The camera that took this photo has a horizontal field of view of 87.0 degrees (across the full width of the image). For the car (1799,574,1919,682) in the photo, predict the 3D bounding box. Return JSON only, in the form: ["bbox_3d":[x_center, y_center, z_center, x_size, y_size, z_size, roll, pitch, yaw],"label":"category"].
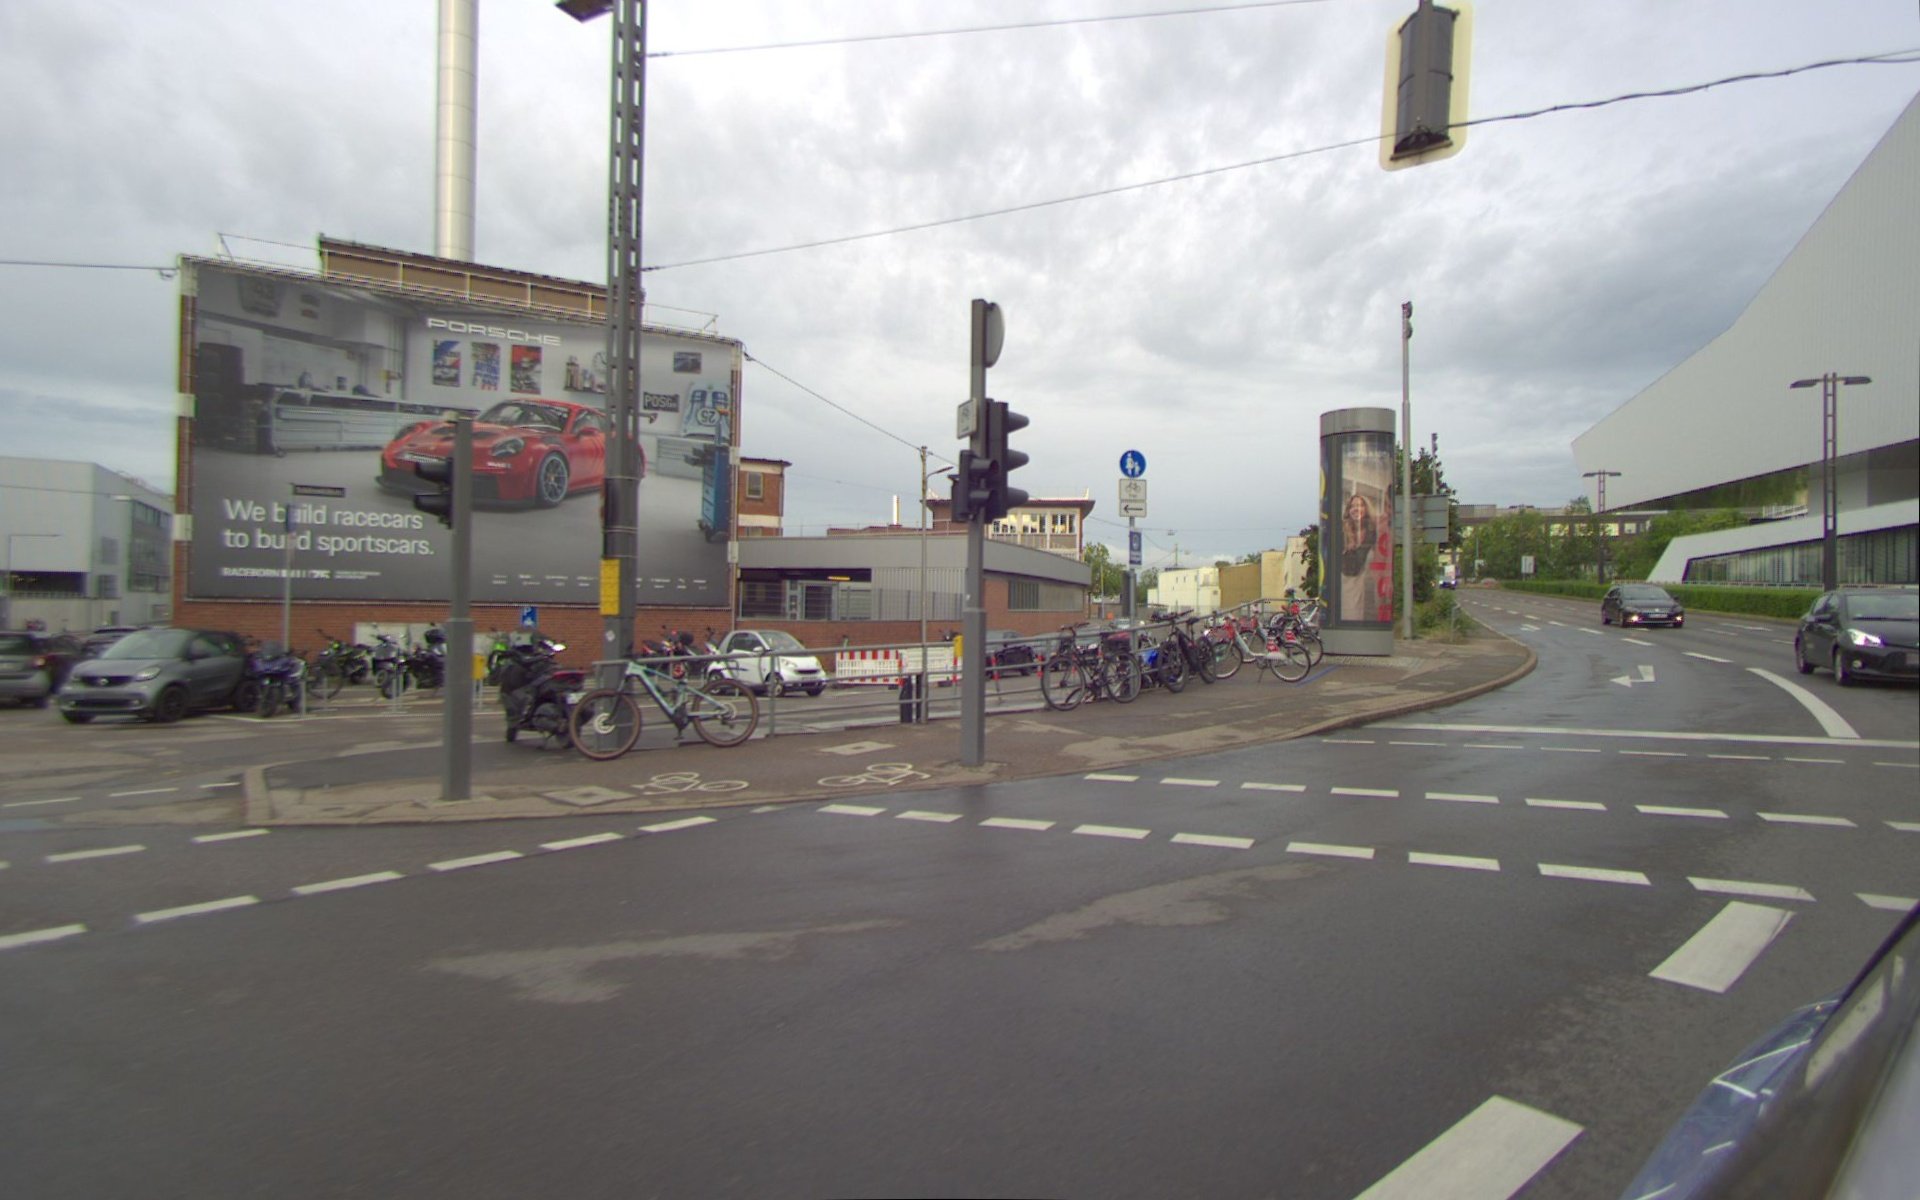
[{"bbox_3d":[15.080,0.373,16.334,1.680,1.526,3.969,-1,1,30],"label":"car"}]

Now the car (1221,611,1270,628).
[{"bbox_3d":[24.902,1.674,88.496,3.935,1.444,1.715,0,-1,10],"label":"car"}]

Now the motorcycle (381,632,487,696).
[{"bbox_3d":[-10.459,1.252,20.146,1.828,1.125,0.545,-2,1,-30],"label":"motorcycle"}]

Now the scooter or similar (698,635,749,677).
[{"bbox_3d":[-6.708,1.569,28.637,1.631,1.110,0.497,-1,1,40],"label":"scooter or similar"}]

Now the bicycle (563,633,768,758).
[{"bbox_3d":[-3.112,0.985,10.780,2.030,1.144,0.422,-2,1,-20],"label":"bicycle"}]

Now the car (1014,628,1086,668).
[{"bbox_3d":[3.674,1.889,40.607,1.702,1.444,3.967,-1,0,24],"label":"car"}]

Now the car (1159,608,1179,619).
[{"bbox_3d":[27.814,1.752,134.731,1.688,1.444,4.000,0,0,-1],"label":"car"}]

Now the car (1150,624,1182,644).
[{"bbox_3d":[15.502,2.543,76.243,1.689,1.444,4.224,0,0,3],"label":"car"}]

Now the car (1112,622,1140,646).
[{"bbox_3d":[10.813,2.187,65.803,1.706,1.406,3.986,-1,0,11],"label":"car"}]

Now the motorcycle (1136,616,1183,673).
[{"bbox_3d":[3.467,0.750,17.559,0.430,0.901,1.252,0,1,29],"label":"motorcycle"}]

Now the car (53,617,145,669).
[{"bbox_3d":[-27.545,1.333,32.478,1.430,1.461,3.470,-2,1,-27],"label":"car"}]

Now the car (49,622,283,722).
[{"bbox_3d":[-13.666,1.182,17.663,1.594,1.523,3.247,0,0,-1],"label":"car"}]

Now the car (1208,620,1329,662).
[{"bbox_3d":[11.480,1.490,37.780,3.979,1.444,1.697,-1,-1,39],"label":"car"}]

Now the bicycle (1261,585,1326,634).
[{"bbox_3d":[8.428,0.237,25.569,1.525,1.169,0.448,2,2,20],"label":"bicycle"}]

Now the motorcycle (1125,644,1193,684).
[{"bbox_3d":[4.893,1.565,24.883,1.594,0.933,0.480,-2,1,17],"label":"motorcycle"}]

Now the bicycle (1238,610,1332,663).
[{"bbox_3d":[5.975,0.658,18.661,1.606,0.933,0.416,0,0,36],"label":"bicycle"}]

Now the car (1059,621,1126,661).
[{"bbox_3d":[6.224,1.842,47.026,1.766,1.688,4.464,-1,-1,26],"label":"car"}]

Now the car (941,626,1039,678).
[{"bbox_3d":[1.118,1.704,34.556,1.868,1.570,4.472,-1,0,23],"label":"car"}]

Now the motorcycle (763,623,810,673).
[{"bbox_3d":[-5.158,1.411,30.115,0.518,1.350,1.657,-2,1,23],"label":"motorcycle"}]

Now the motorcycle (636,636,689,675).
[{"bbox_3d":[-7.979,1.474,27.145,1.609,0.985,0.533,-1,1,40],"label":"motorcycle"}]

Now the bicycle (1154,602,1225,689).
[{"bbox_3d":[3.552,0.664,15.555,0.397,1.189,1.992,0,2,32],"label":"bicycle"}]

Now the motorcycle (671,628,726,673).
[{"bbox_3d":[-7.256,1.391,28.041,1.712,1.166,0.577,-1,1,40],"label":"motorcycle"}]

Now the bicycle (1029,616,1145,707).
[{"bbox_3d":[1.731,0.800,13.615,1.711,1.097,0.348,-2,1,-33],"label":"bicycle"}]

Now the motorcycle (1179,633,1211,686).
[{"bbox_3d":[4.587,1.140,19.723,0.398,0.901,1.530,0,1,21],"label":"motorcycle"}]

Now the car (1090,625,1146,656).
[{"bbox_3d":[8.258,2.057,52.527,1.703,1.422,4.236,-1,-1,26],"label":"car"}]

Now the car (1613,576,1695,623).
[{"bbox_3d":[23.909,-0.063,34.985,1.732,1.493,4.033,-1,1,26],"label":"car"}]

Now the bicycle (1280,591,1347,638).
[{"bbox_3d":[8.346,0.340,23.907,1.432,1.087,0.444,0,2,-7],"label":"bicycle"}]

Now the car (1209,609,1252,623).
[{"bbox_3d":[27.132,1.604,101.653,3.935,1.444,1.715,0,-1,10],"label":"car"}]

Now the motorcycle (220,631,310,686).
[{"bbox_3d":[-15.688,1.310,22.870,1.569,1.134,0.546,-2,1,-22],"label":"motorcycle"}]

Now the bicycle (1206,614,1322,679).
[{"bbox_3d":[4.868,0.721,16.242,1.732,0.973,0.417,0,1,33],"label":"bicycle"}]

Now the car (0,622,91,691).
[{"bbox_3d":[-22.659,1.332,24.665,1.537,1.461,4.108,-2,1,-31],"label":"car"}]

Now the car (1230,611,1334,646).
[{"bbox_3d":[13.980,1.212,44.042,3.979,1.444,1.697,-1,-1,39],"label":"car"}]

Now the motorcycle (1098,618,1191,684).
[{"bbox_3d":[2.948,0.784,16.067,1.716,0.906,0.546,-2,2,-43],"label":"motorcycle"}]

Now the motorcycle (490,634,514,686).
[{"bbox_3d":[-10.965,1.413,24.243,0.467,1.133,1.813,-2,1,-24],"label":"motorcycle"}]

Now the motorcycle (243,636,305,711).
[{"bbox_3d":[-12.008,1.259,17.746,0.485,1.160,1.727,-2,1,-21],"label":"motorcycle"}]

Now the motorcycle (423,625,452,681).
[{"bbox_3d":[-12.357,1.231,23.960,0.533,1.195,1.716,-2,1,-26],"label":"motorcycle"}]

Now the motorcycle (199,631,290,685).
[{"bbox_3d":[-16.591,1.338,23.518,1.614,1.125,0.546,-2,1,-22],"label":"motorcycle"}]

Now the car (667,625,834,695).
[{"bbox_3d":[-5.008,1.363,24.007,3.970,1.508,1.549,-1,-1,33],"label":"car"}]

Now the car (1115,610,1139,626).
[{"bbox_3d":[15.378,1.632,93.260,1.689,1.444,3.996,0,0,3],"label":"car"}]

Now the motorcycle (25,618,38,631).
[{"bbox_3d":[-77.927,2.057,84.914,0.555,1.089,1.927,1,-1,-35],"label":"motorcycle"}]

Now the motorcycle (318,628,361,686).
[{"bbox_3d":[-14.224,1.280,23.232,0.661,1.195,1.651,-2,1,-26],"label":"motorcycle"}]

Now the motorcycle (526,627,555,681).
[{"bbox_3d":[-10.435,1.314,25.141,0.533,1.254,1.810,1,0,-26],"label":"motorcycle"}]

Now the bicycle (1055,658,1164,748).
[{"bbox_3d":[2.141,1.432,14.350,1.711,1.097,0.348,-2,1,-33],"label":"bicycle"}]

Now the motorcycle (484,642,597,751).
[{"bbox_3d":[-5.138,1.126,12.315,0.480,1.160,2.088,-2,1,-45],"label":"motorcycle"}]

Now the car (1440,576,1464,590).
[{"bbox_3d":[54.109,-1.865,111.426,1.794,1.457,4.276,1,-1,18],"label":"car"}]

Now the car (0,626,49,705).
[{"bbox_3d":[-19.493,1.270,20.199,2.738,1.512,1.531,-1,-3,40],"label":"car"}]

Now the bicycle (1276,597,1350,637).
[{"bbox_3d":[8.569,0.401,24.551,1.669,0.933,0.487,0,1,-12],"label":"bicycle"}]

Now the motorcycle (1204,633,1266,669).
[{"bbox_3d":[7.583,1.411,27.991,1.590,0.933,0.420,-2,0,10],"label":"motorcycle"}]

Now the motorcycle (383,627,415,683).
[{"bbox_3d":[-13.065,1.261,23.595,0.533,1.195,1.651,-2,1,-26],"label":"motorcycle"}]
